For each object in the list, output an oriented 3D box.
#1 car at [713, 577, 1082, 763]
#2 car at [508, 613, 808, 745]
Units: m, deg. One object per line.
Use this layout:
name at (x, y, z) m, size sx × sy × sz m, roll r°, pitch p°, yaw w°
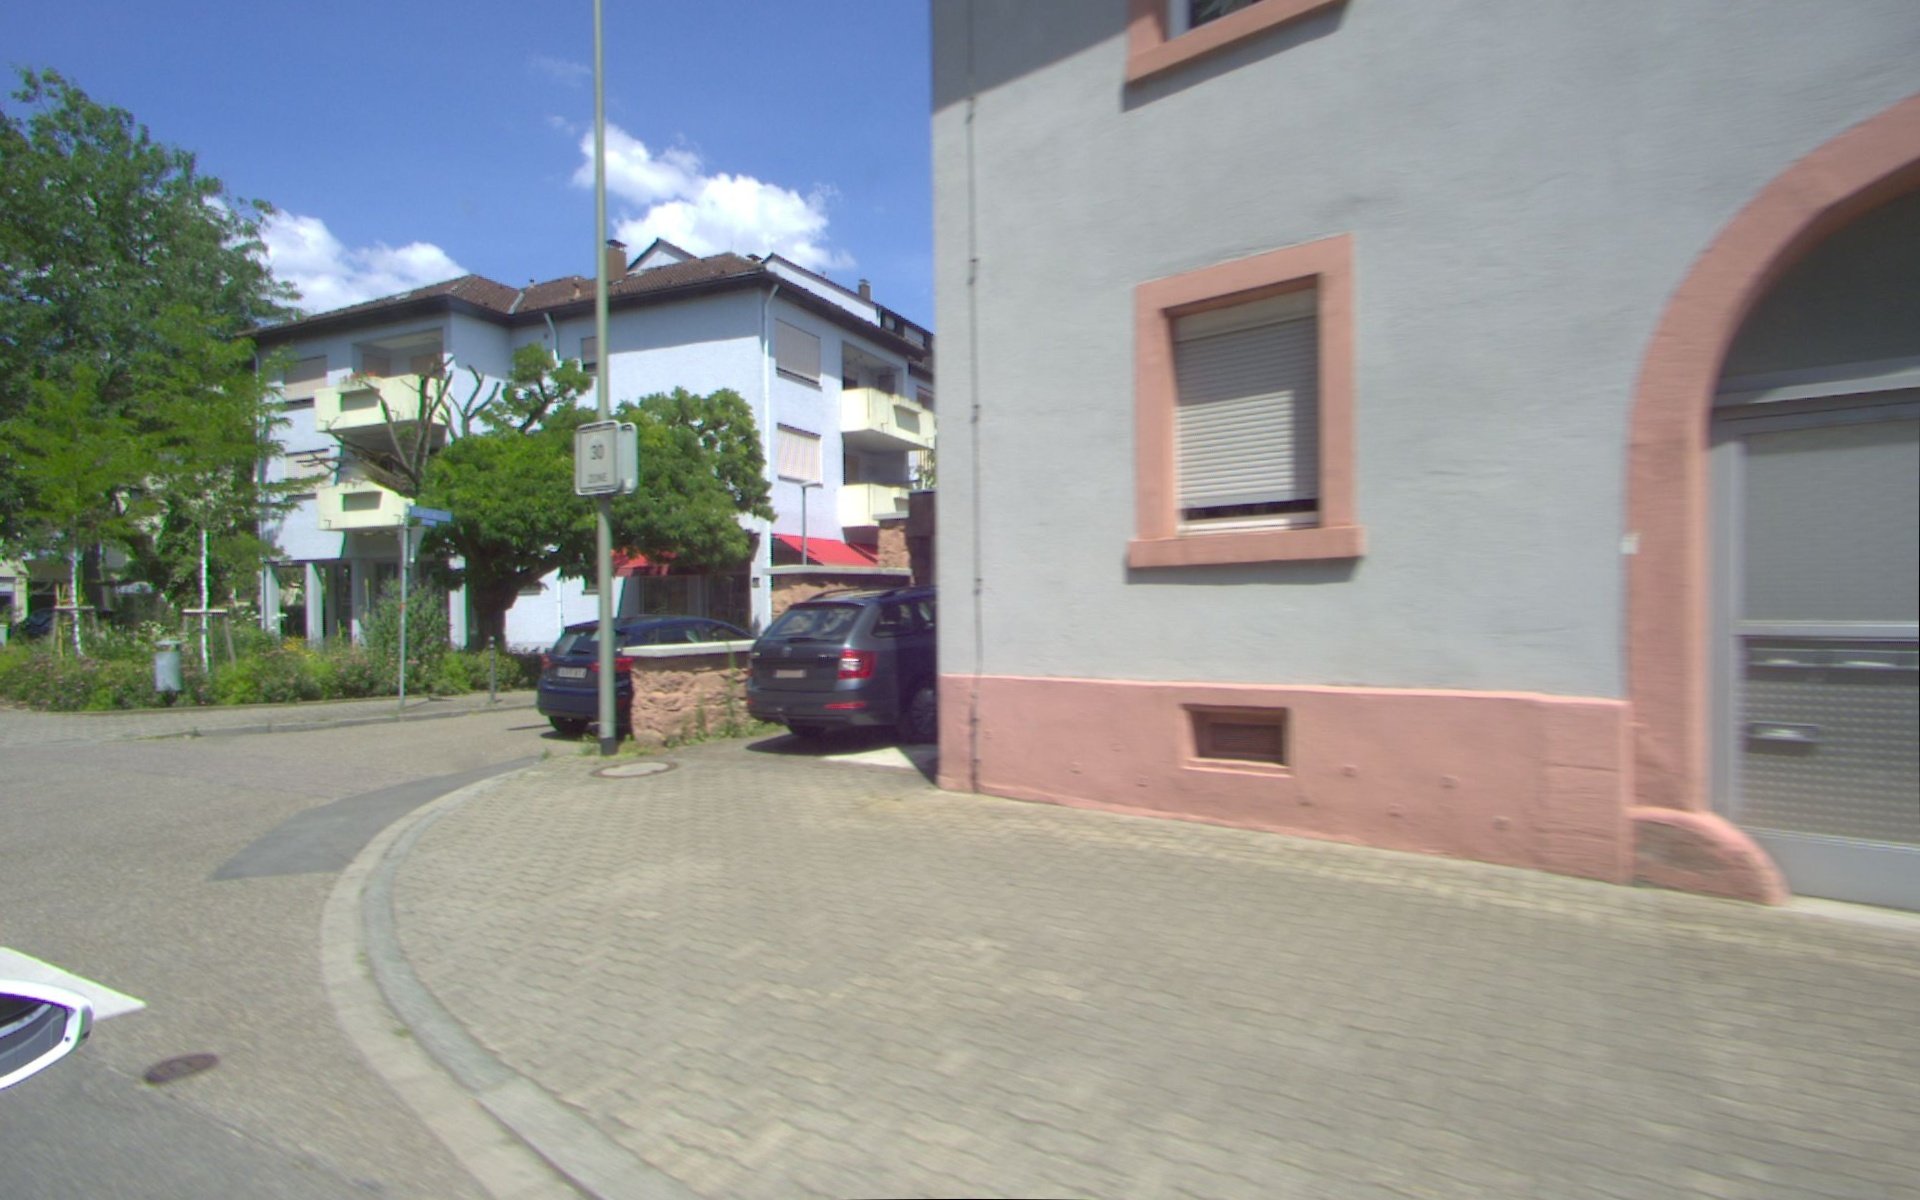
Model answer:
car at (-0.440, 0.591, 10.829) m, size 1.718 × 1.550 × 4.255 m, roll -2°, pitch 0°, yaw 34°
car at (-3.791, 0.926, 13.140) m, size 1.716 × 1.467 × 3.594 m, roll 0°, pitch -1°, yaw 30°
